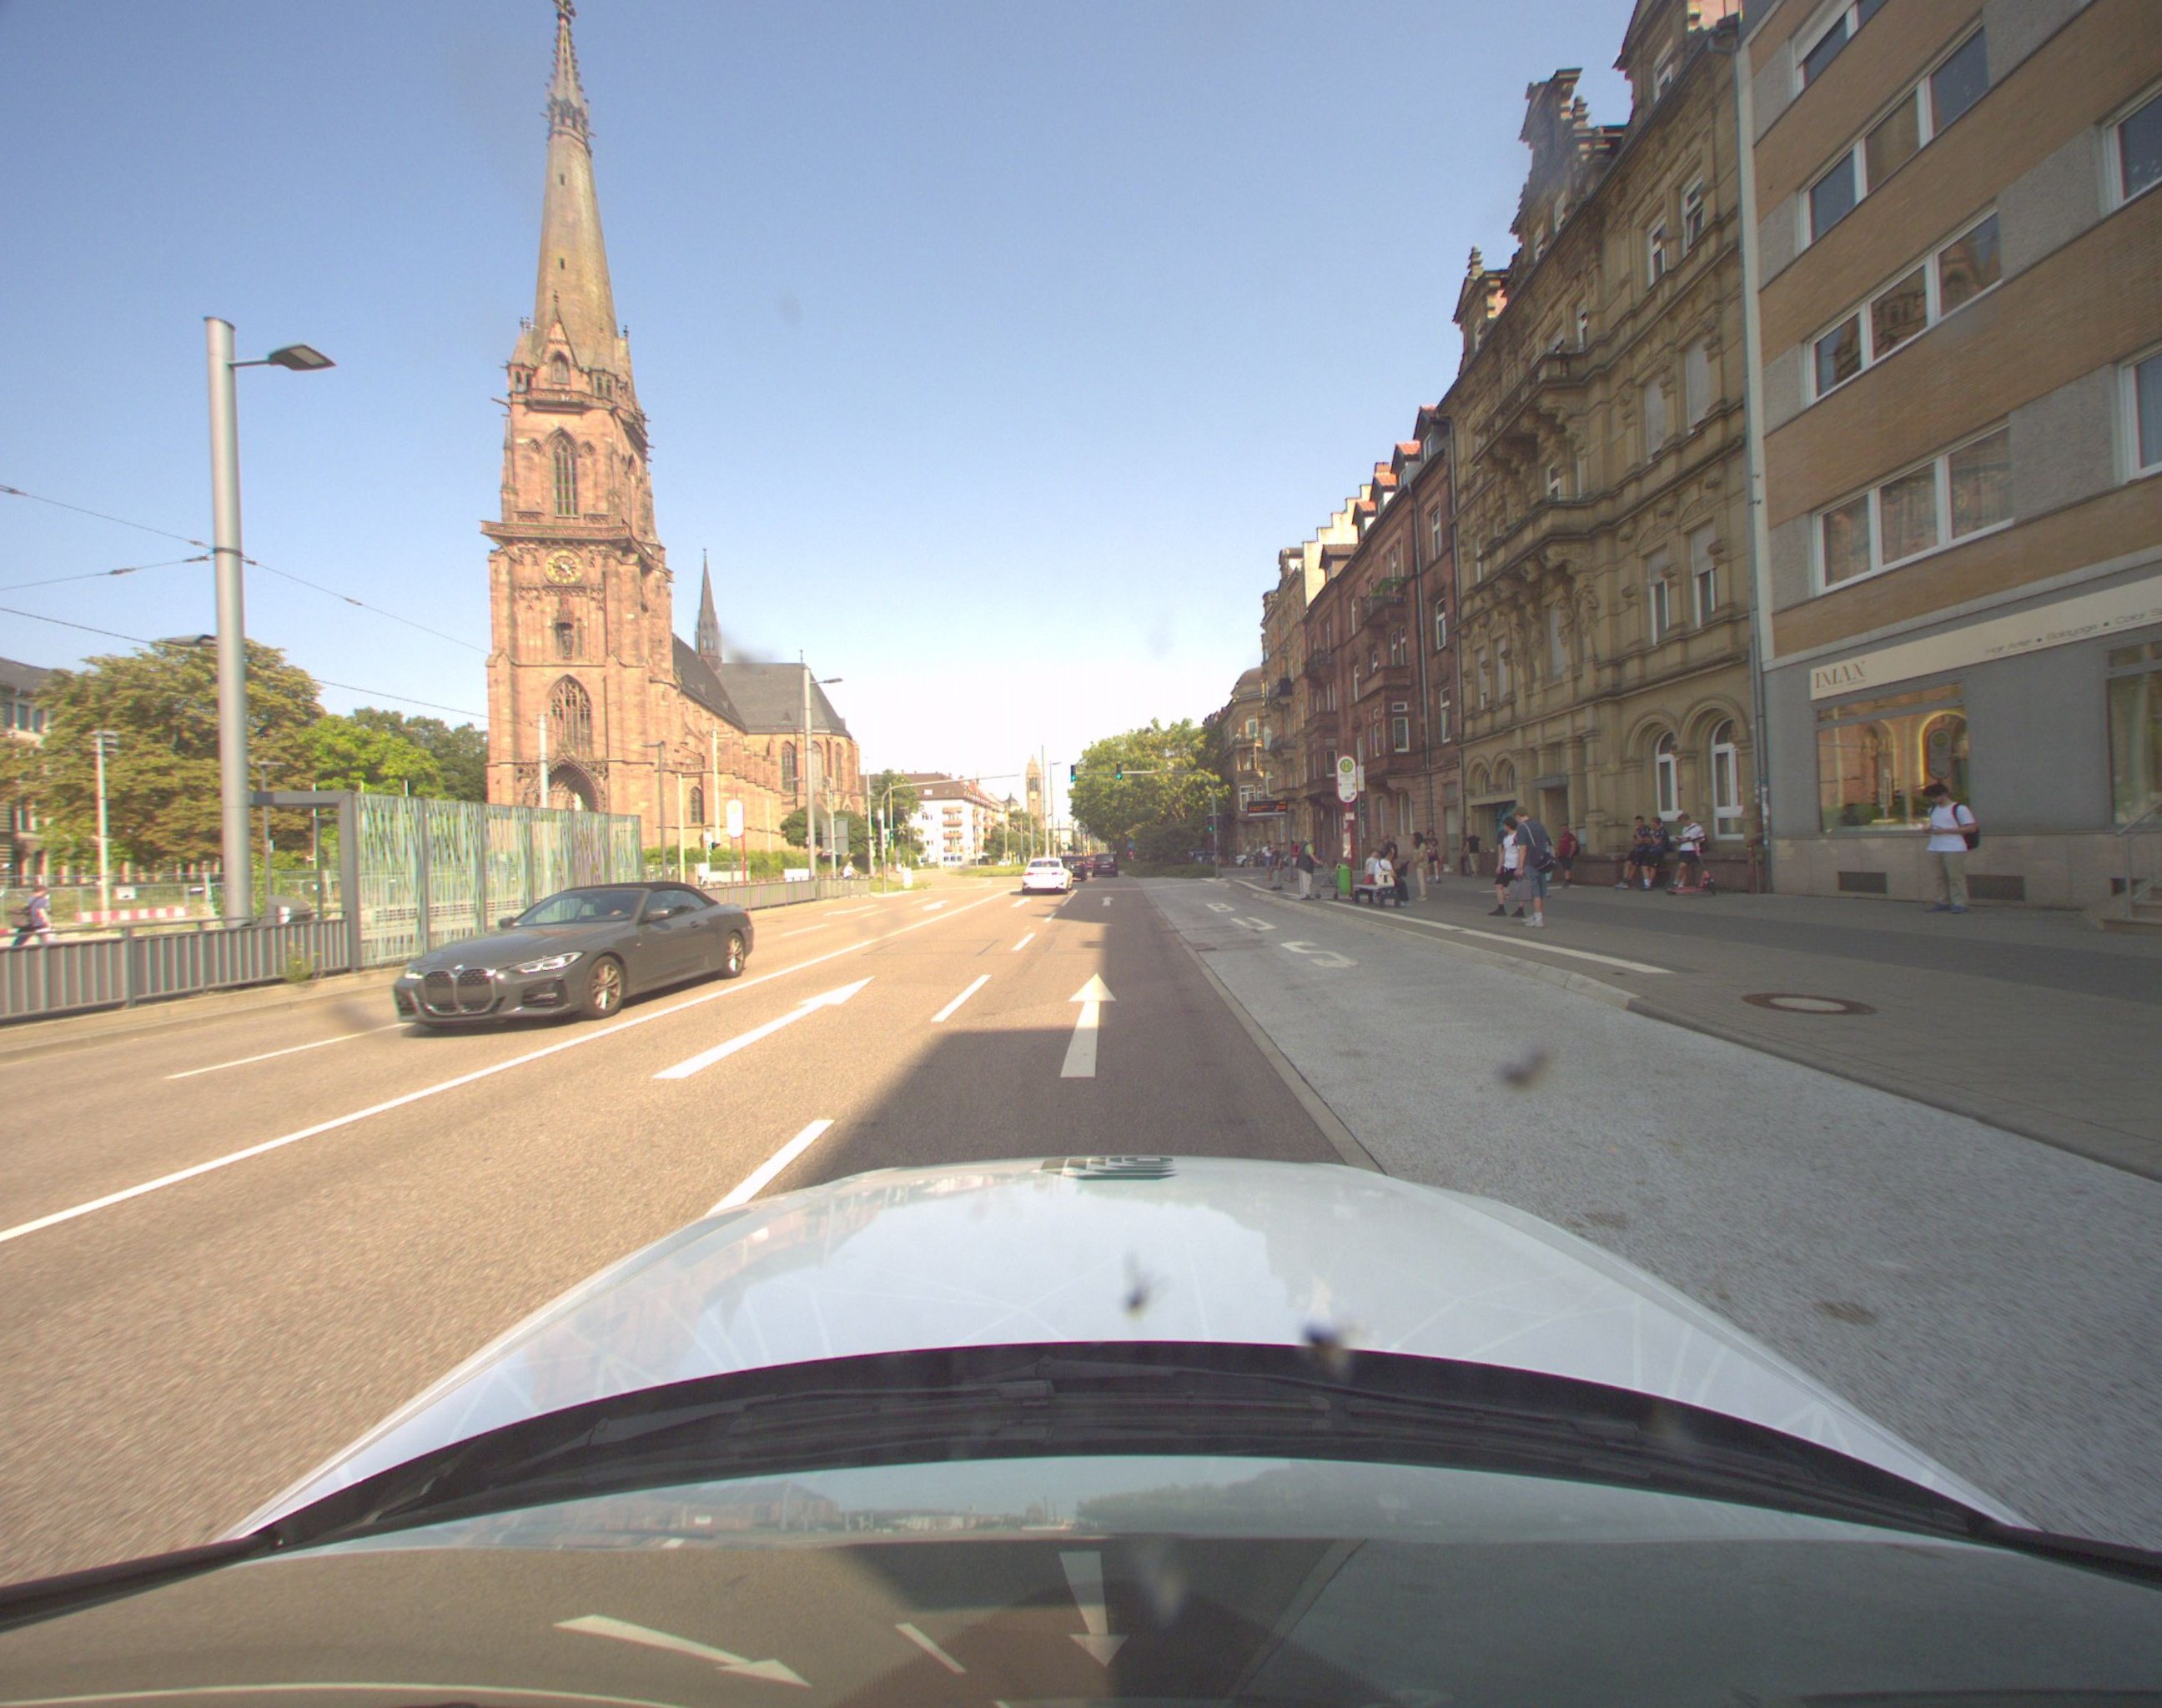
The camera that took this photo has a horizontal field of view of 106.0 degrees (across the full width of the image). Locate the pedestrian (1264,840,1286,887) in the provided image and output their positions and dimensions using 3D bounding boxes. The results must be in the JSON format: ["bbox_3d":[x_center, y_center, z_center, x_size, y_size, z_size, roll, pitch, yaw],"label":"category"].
[{"bbox_3d":[6.739,0.319,28.299,0.526,1.612,0.703,-2,0,-1],"label":"pedestrian"}]

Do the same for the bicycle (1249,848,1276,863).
[{"bbox_3d":[14.064,0.124,62.970,1.924,1.048,0.527,-3,0,-4],"label":"bicycle"}]

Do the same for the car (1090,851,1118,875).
[{"bbox_3d":[1.687,0.590,58.153,1.824,1.621,4.360,-1,0,3],"label":"car"}]

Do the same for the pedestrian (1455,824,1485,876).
[{"bbox_3d":[13.206,-0.131,27.661,0.627,1.719,0.691,-2,0,2],"label":"pedestrian"}]

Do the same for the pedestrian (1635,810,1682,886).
[{"bbox_3d":[13.313,-0.140,18.791,0.601,1.692,0.587,-2,0,-1],"label":"pedestrian"}]

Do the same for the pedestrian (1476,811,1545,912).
[{"bbox_3d":[7.710,0.130,14.651,0.747,1.729,0.800,-2,0,-1],"label":"pedestrian"}]

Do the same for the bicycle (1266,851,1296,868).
[{"bbox_3d":[13.655,0.373,55.647,1.924,1.048,0.499,-3,0,-4],"label":"bicycle"}]

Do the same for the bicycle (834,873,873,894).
[{"bbox_3d":[-11.504,1.489,41.199,1.752,0.978,0.479,-3,0,0],"label":"bicycle"}]

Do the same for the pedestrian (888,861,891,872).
[{"bbox_3d":[-26.410,1.776,112.332,0.304,1.518,0.340,-2,0,-2],"label":"pedestrian"}]

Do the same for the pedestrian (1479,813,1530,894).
[{"bbox_3d":[9.816,-0.018,18.919,0.614,1.804,1.072,-2,0,3],"label":"pedestrian"}]

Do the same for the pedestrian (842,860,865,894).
[{"bbox_3d":[-11.518,1.144,41.187,0.913,1.679,0.602,-3,0,0],"label":"pedestrian"}]

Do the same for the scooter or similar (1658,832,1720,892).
[{"bbox_3d":[12.439,0.159,16.692,0.359,1.163,1.152,-2,0,0],"label":"scooter or similar"}]

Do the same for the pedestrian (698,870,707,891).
[{"bbox_3d":[-29.689,2.092,63.879,0.542,1.576,0.658,-2,0,-17],"label":"pedestrian"}]

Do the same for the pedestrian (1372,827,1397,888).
[{"bbox_3d":[8.805,0.096,23.633,0.340,1.732,0.805,-2,0,-1],"label":"pedestrian"}]

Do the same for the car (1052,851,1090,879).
[{"bbox_3d":[-0.564,0.641,50.003,1.985,1.621,4.360,-1,0,3],"label":"car"}]

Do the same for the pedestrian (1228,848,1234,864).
[{"bbox_3d":[14.070,0.177,76.447,0.442,1.506,0.486,-2,0,-3],"label":"pedestrian"}]

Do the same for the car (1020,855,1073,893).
[{"bbox_3d":[-1.350,0.791,33.692,1.802,1.427,4.777,0,0,2],"label":"car"}]

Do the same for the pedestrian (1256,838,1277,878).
[{"bbox_3d":[7.904,0.156,34.719,0.687,1.664,0.620,-2,0,3],"label":"pedestrian"}]

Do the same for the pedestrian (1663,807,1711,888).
[{"bbox_3d":[13.254,-0.143,17.826,0.601,1.731,0.510,-2,0,-1],"label":"pedestrian"}]

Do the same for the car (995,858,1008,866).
[{"bbox_3d":[-15.627,1.608,160.580,1.987,1.500,4.000,-3,0,1],"label":"car"}]

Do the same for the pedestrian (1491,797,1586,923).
[{"bbox_3d":[6.981,0.085,12.467,0.922,1.831,0.800,-2,0,-1],"label":"pedestrian"}]

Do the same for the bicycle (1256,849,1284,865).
[{"bbox_3d":[13.890,0.217,59.955,1.924,1.048,0.527,-3,0,-4],"label":"bicycle"}]

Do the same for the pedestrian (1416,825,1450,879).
[{"bbox_3d":[11.644,-0.061,26.987,0.698,1.724,0.898,-2,0,2],"label":"pedestrian"}]

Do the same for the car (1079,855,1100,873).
[{"bbox_3d":[0.864,0.942,80.257,1.824,1.621,4.360,-1,0,3],"label":"car"}]

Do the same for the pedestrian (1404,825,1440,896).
[{"bbox_3d":[8.504,0.164,20.346,0.563,1.729,0.617,-2,0,-1],"label":"pedestrian"}]

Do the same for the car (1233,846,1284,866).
[{"bbox_3d":[16.137,0.195,74.202,4.169,1.563,1.998,-3,0,-2],"label":"car"}]

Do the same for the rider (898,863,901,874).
[{"bbox_3d":[-24.340,1.939,109.171,0.304,1.431,0.251,-3,0,30],"label":"rider"}]

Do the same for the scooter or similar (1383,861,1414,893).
[{"bbox_3d":[7.944,0.572,20.383,0.563,0.741,0.514,-2,0,-1],"label":"scooter or similar"}]

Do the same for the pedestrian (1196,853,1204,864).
[{"bbox_3d":[11.135,0.419,76.099,0.446,1.070,0.482,-2,0,-28],"label":"pedestrian"}]

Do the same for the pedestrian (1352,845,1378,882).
[{"bbox_3d":[6.504,0.213,18.663,0.302,0.820,0.603,-2,0,-5],"label":"pedestrian"}]

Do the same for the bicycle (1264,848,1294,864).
[{"bbox_3d":[13.698,0.135,56.234,1.924,1.048,0.499,-3,0,-4],"label":"bicycle"}]

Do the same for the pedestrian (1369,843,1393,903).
[{"bbox_3d":[6.511,0.413,17.659,0.274,1.274,0.447,-2,0,-4],"label":"pedestrian"}]

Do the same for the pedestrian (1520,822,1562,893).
[{"bbox_3d":[10.647,0.081,18.886,0.484,1.610,0.813,-2,0,3],"label":"pedestrian"}]

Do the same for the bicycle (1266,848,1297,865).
[{"bbox_3d":[13.512,0.183,54.853,1.924,1.048,0.499,-3,0,-4],"label":"bicycle"}]

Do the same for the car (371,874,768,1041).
[{"bbox_3d":[-5.617,1.018,9.807,1.706,1.331,4.523,-4,0,2],"label":"car"}]

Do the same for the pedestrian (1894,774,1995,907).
[{"bbox_3d":[12.454,-0.189,11.762,0.601,1.831,0.742,-2,0,-1],"label":"pedestrian"}]

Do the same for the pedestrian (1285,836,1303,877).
[{"bbox_3d":[9.021,0.102,34.519,0.480,1.702,0.703,-2,0,-1],"label":"pedestrian"}]

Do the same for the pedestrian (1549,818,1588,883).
[{"bbox_3d":[12.899,-0.094,21.555,0.601,1.654,0.587,-2,0,-1],"label":"pedestrian"}]

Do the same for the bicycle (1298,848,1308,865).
[{"bbox_3d":[14.469,0.174,53.072,0.414,1.048,1.673,-3,0,8],"label":"bicycle"}]

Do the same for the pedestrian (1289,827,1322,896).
[{"bbox_3d":[5.735,0.185,20.822,0.563,1.729,0.745,-2,0,-1],"label":"pedestrian"}]

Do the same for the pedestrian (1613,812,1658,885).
[{"bbox_3d":[13.253,-0.133,19.482,0.601,1.692,0.587,-2,0,-1],"label":"pedestrian"}]

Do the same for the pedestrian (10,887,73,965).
[{"bbox_3d":[-23.635,1.628,18.529,0.515,1.700,0.665,-2,0,1],"label":"pedestrian"}]

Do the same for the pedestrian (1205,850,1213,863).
[{"bbox_3d":[12.355,0.241,78.671,0.595,1.248,0.507,-3,0,1],"label":"pedestrian"}]

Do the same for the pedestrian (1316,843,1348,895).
[{"bbox_3d":[6.390,0.369,20.727,0.563,1.277,0.597,-2,0,-2],"label":"pedestrian"}]
